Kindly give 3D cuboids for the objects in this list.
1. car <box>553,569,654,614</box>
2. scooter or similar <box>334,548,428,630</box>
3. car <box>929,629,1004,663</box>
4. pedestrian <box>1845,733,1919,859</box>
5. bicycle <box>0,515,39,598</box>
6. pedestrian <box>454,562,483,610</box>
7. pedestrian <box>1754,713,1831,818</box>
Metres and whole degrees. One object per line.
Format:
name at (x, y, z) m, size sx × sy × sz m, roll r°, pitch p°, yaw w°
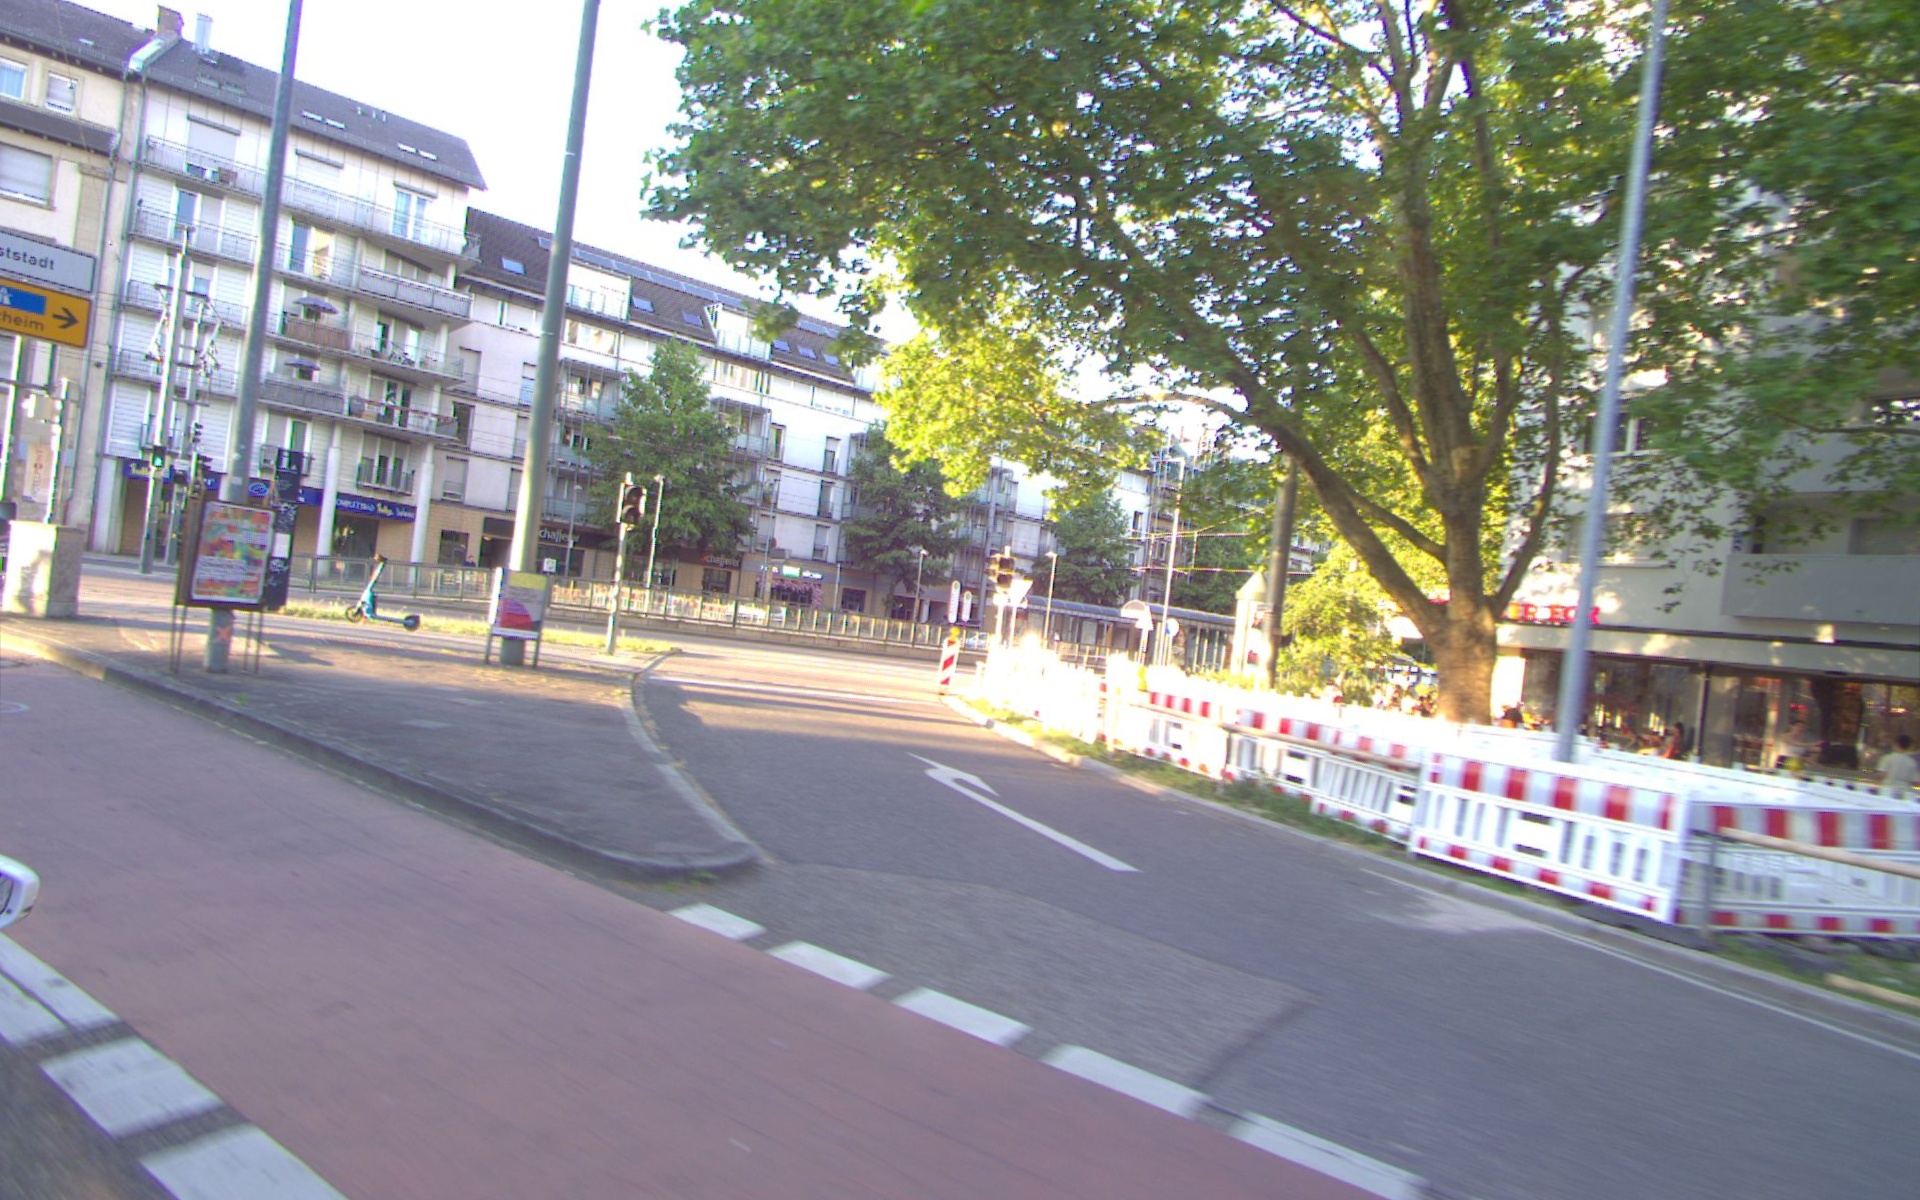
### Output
car at (-16.636, -0.374, 46.977) m, size 3.971 × 1.503 × 1.830 m, roll 9°, pitch -3°, yaw -39°
scooter or similar at (-10.127, -0.177, 17.624) m, size 1.217 × 1.263 × 0.513 m, roll 8°, pitch -2°, yaw -19°
car at (0.418, 2.701, 59.203) m, size 3.964 × 1.503 × 1.833 m, roll 9°, pitch -3°, yaw -34°
pedestrian at (13.055, 2.725, 14.083) m, size 0.733 × 1.607 × 0.641 m, roll 6°, pitch -2°, yaw 25°
bicycle at (-13.697, -0.678, 13.508) m, size 0.617 × 1.122 × 2.074 m, roll 7°, pitch -2°, yaw 0°
pedestrian at (-23.980, -0.672, 49.060) m, size 0.864 × 2.234 × 0.812 m, roll 8°, pitch -2°, yaw -39°
pedestrian at (13.985, 2.763, 16.926) m, size 0.733 × 1.607 × 0.641 m, roll 6°, pitch -2°, yaw 25°
